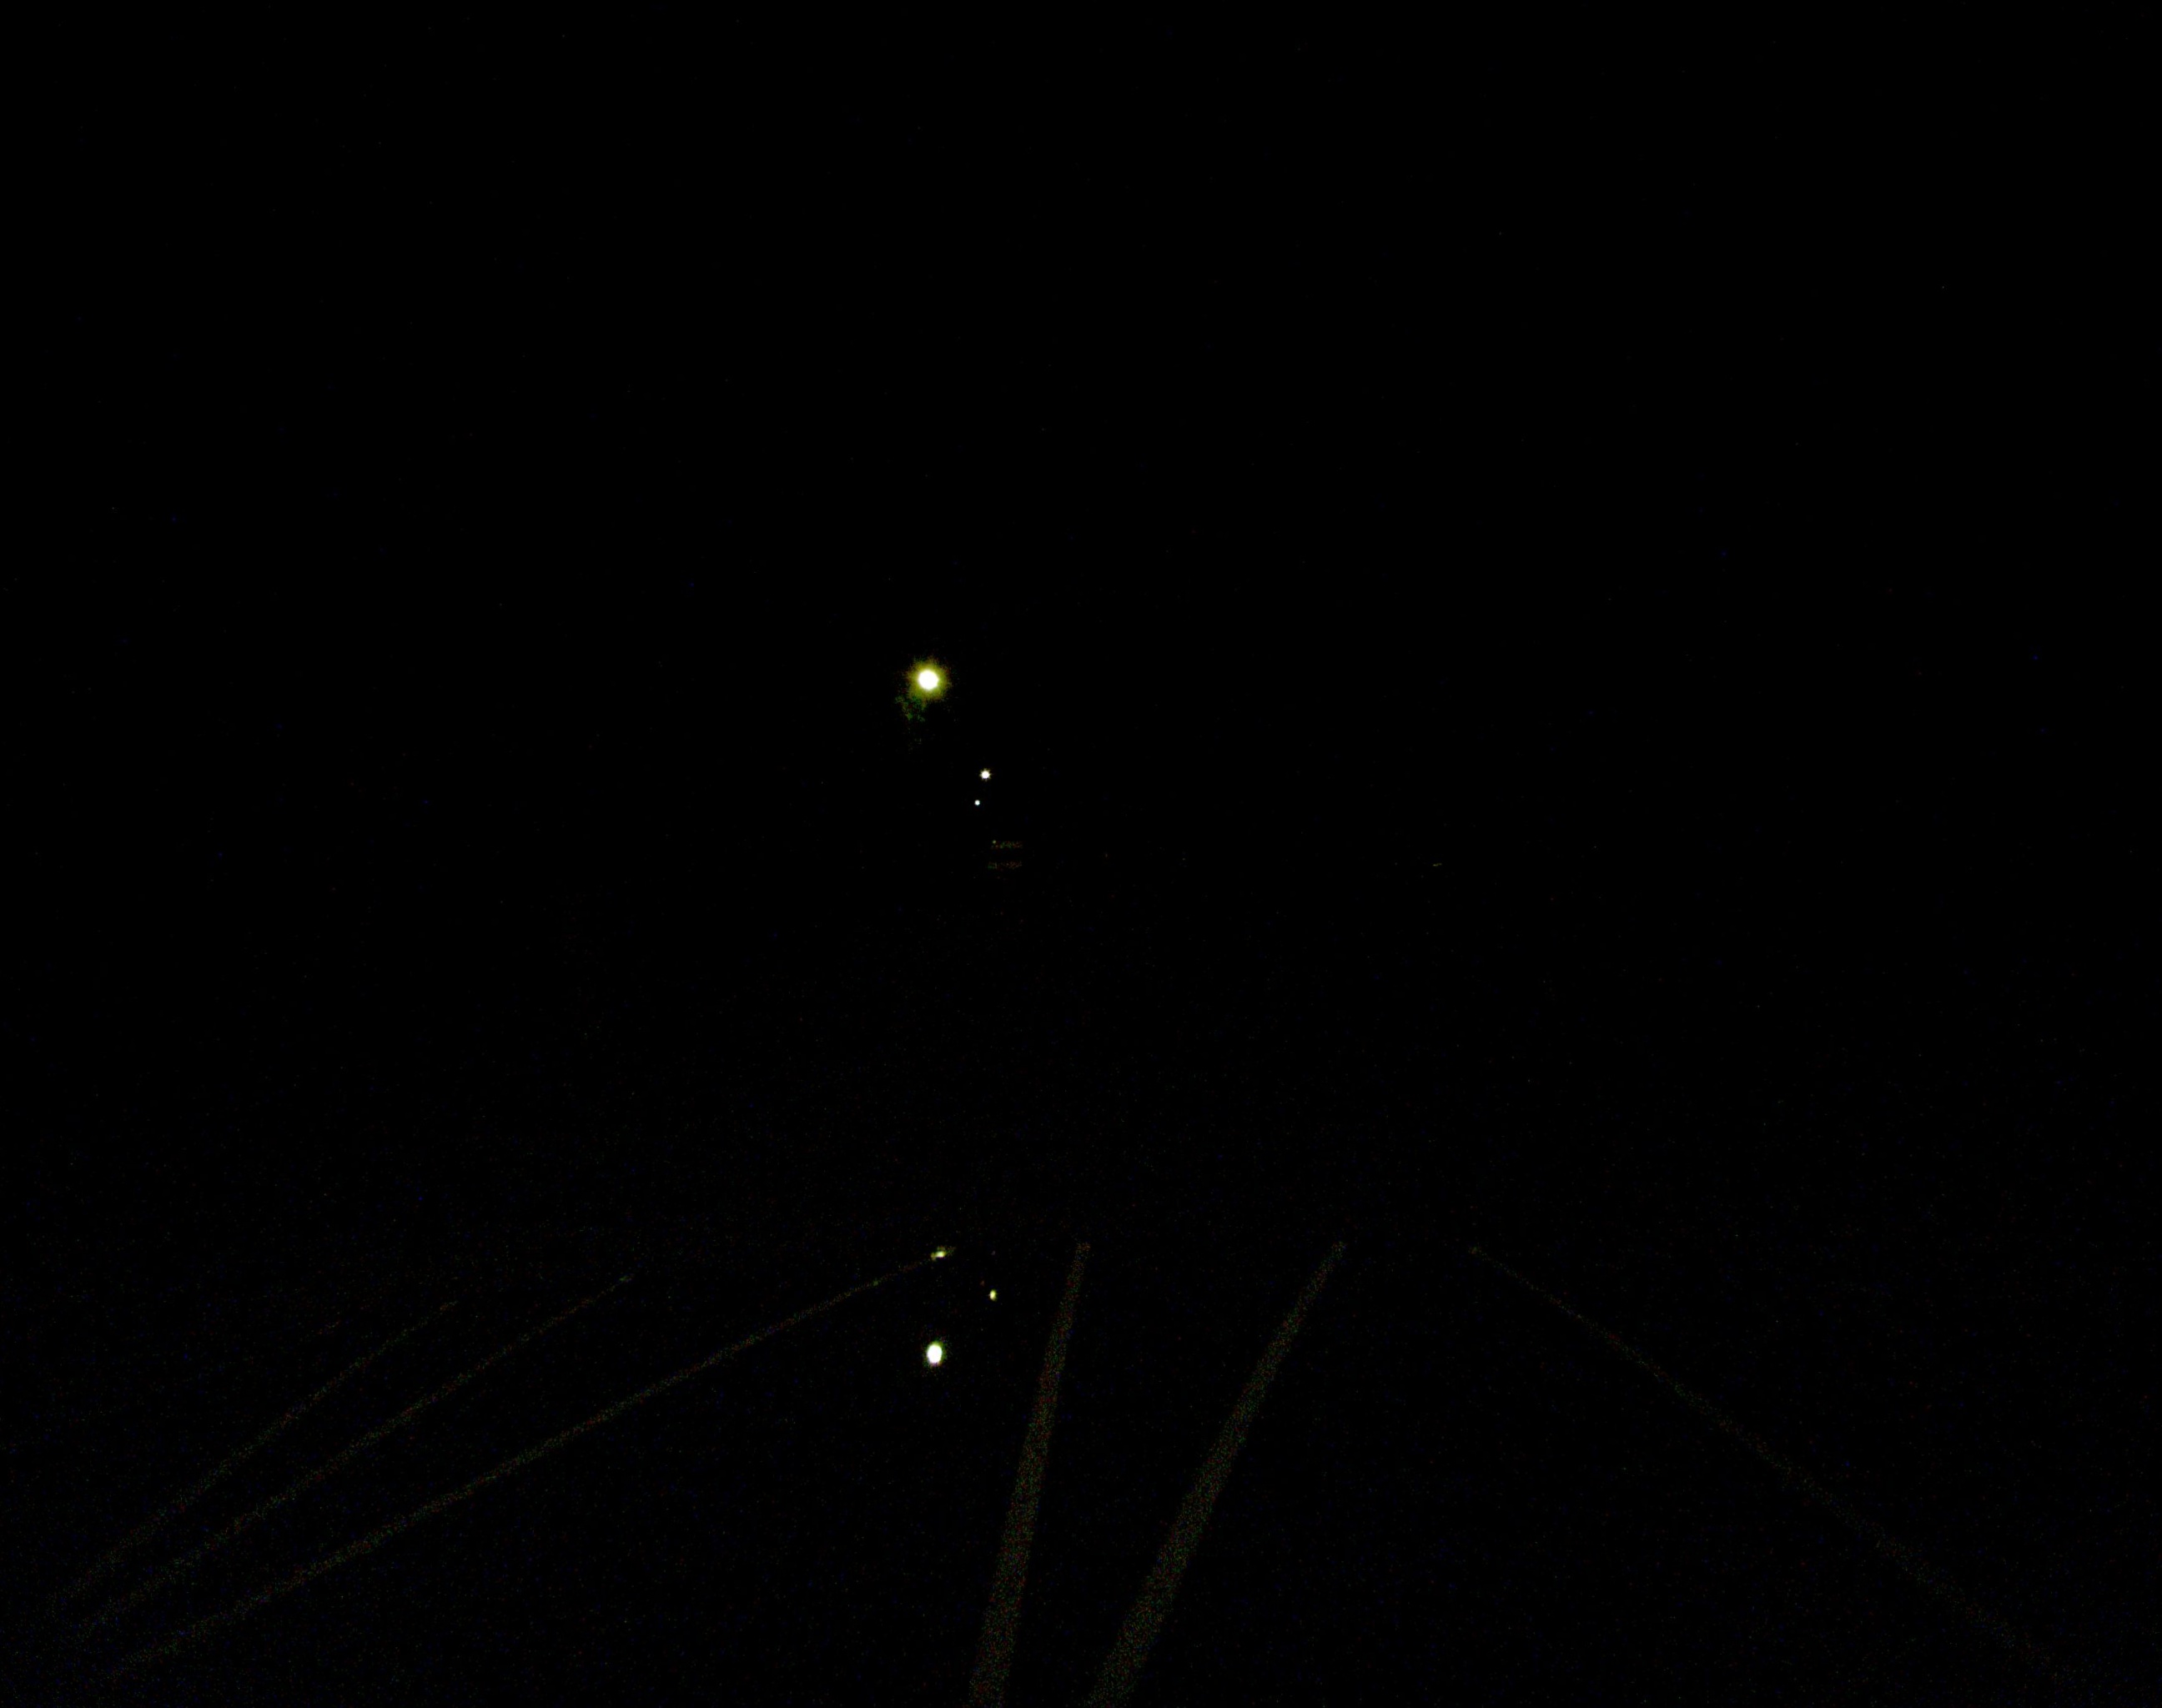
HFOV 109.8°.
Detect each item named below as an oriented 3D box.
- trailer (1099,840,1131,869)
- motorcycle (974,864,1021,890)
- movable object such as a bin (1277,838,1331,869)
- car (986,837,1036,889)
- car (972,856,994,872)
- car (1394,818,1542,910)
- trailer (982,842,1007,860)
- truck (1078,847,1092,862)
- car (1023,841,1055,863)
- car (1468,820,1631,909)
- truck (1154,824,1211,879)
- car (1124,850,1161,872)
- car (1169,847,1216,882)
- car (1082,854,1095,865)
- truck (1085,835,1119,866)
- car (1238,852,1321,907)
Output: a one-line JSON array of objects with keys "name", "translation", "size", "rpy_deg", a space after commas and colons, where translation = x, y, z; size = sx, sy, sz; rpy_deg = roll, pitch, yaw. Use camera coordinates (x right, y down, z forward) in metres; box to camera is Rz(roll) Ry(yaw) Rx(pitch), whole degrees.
[{"name": "trailer", "translation": [3.377, 0.034, 76.874], "size": [2.212, 2.779, 4.612], "rpy_deg": [-1, 1, -10]}, {"name": "motorcycle", "translation": [-4.043, 1.104, 36.790], "size": [2.180, 1.177, 0.770], "rpy_deg": [-2, 1, 32]}, {"name": "movable object such as a bin", "translation": [11.069, -0.011, 37.809], "size": [2.341, 1.486, 1.416], "rpy_deg": [-1, 1, 6]}, {"name": "car", "translation": [-3.667, 0.445, 41.030], "size": [2.026, 2.512, 6.050], "rpy_deg": [-2, 0, 0]}, {"name": "car", "translation": [-13.688, 1.405, 106.125], "size": [2.001, 2.002, 5.346], "rpy_deg": [-3, 1, -19]}, {"name": "car", "translation": [10.838, 0.231, 21.754], "size": [1.998, 2.308, 4.968], "rpy_deg": [1, 0, 4]}, {"name": "trailer", "translation": [-15.379, -0.467, 134.132], "size": [2.493, 3.055, 7.940], "rpy_deg": [-1, 0, -21]}, {"name": "truck", "translation": [0.675, 0.067, 128.519], "size": [2.138, 2.598, 7.098], "rpy_deg": [0, 0, -1]}, {"name": "car", "translation": [-6.355, -0.265, 112.930], "size": [2.392, 3.224, 7.217], "rpy_deg": [-2, 1, -23]}, {"name": "car", "translation": [13.482, 0.274, 22.277], "size": [2.212, 2.308, 4.625], "rpy_deg": [-1, 0, 4]}, {"name": "truck", "translation": [6.456, -0.166, 49.304], "size": [2.550, 3.261, 7.311], "rpy_deg": [-1, 0, -1]}, {"name": "car", "translation": [5.226, 0.555, 65.378], "size": [2.000, 1.761, 4.688], "rpy_deg": [-1, 0, -10]}, {"name": "car", "translation": [6.182, 0.536, 42.487], "size": [1.834, 1.806, 4.837], "rpy_deg": [-1, 0, -1]}, {"name": "car", "translation": [1.105, 0.869, 119.759], "size": [1.862, 1.630, 3.999], "rpy_deg": [0, 0, -2]}, {"name": "truck", "translation": [2.205, -0.354, 83.548], "size": [2.381, 3.224, 7.225], "rpy_deg": [-1, 0, -9]}, {"name": "car", "translation": [6.138, 0.732, 23.958], "size": [1.759, 1.517, 4.323], "rpy_deg": [-1, 0, 5]}]
